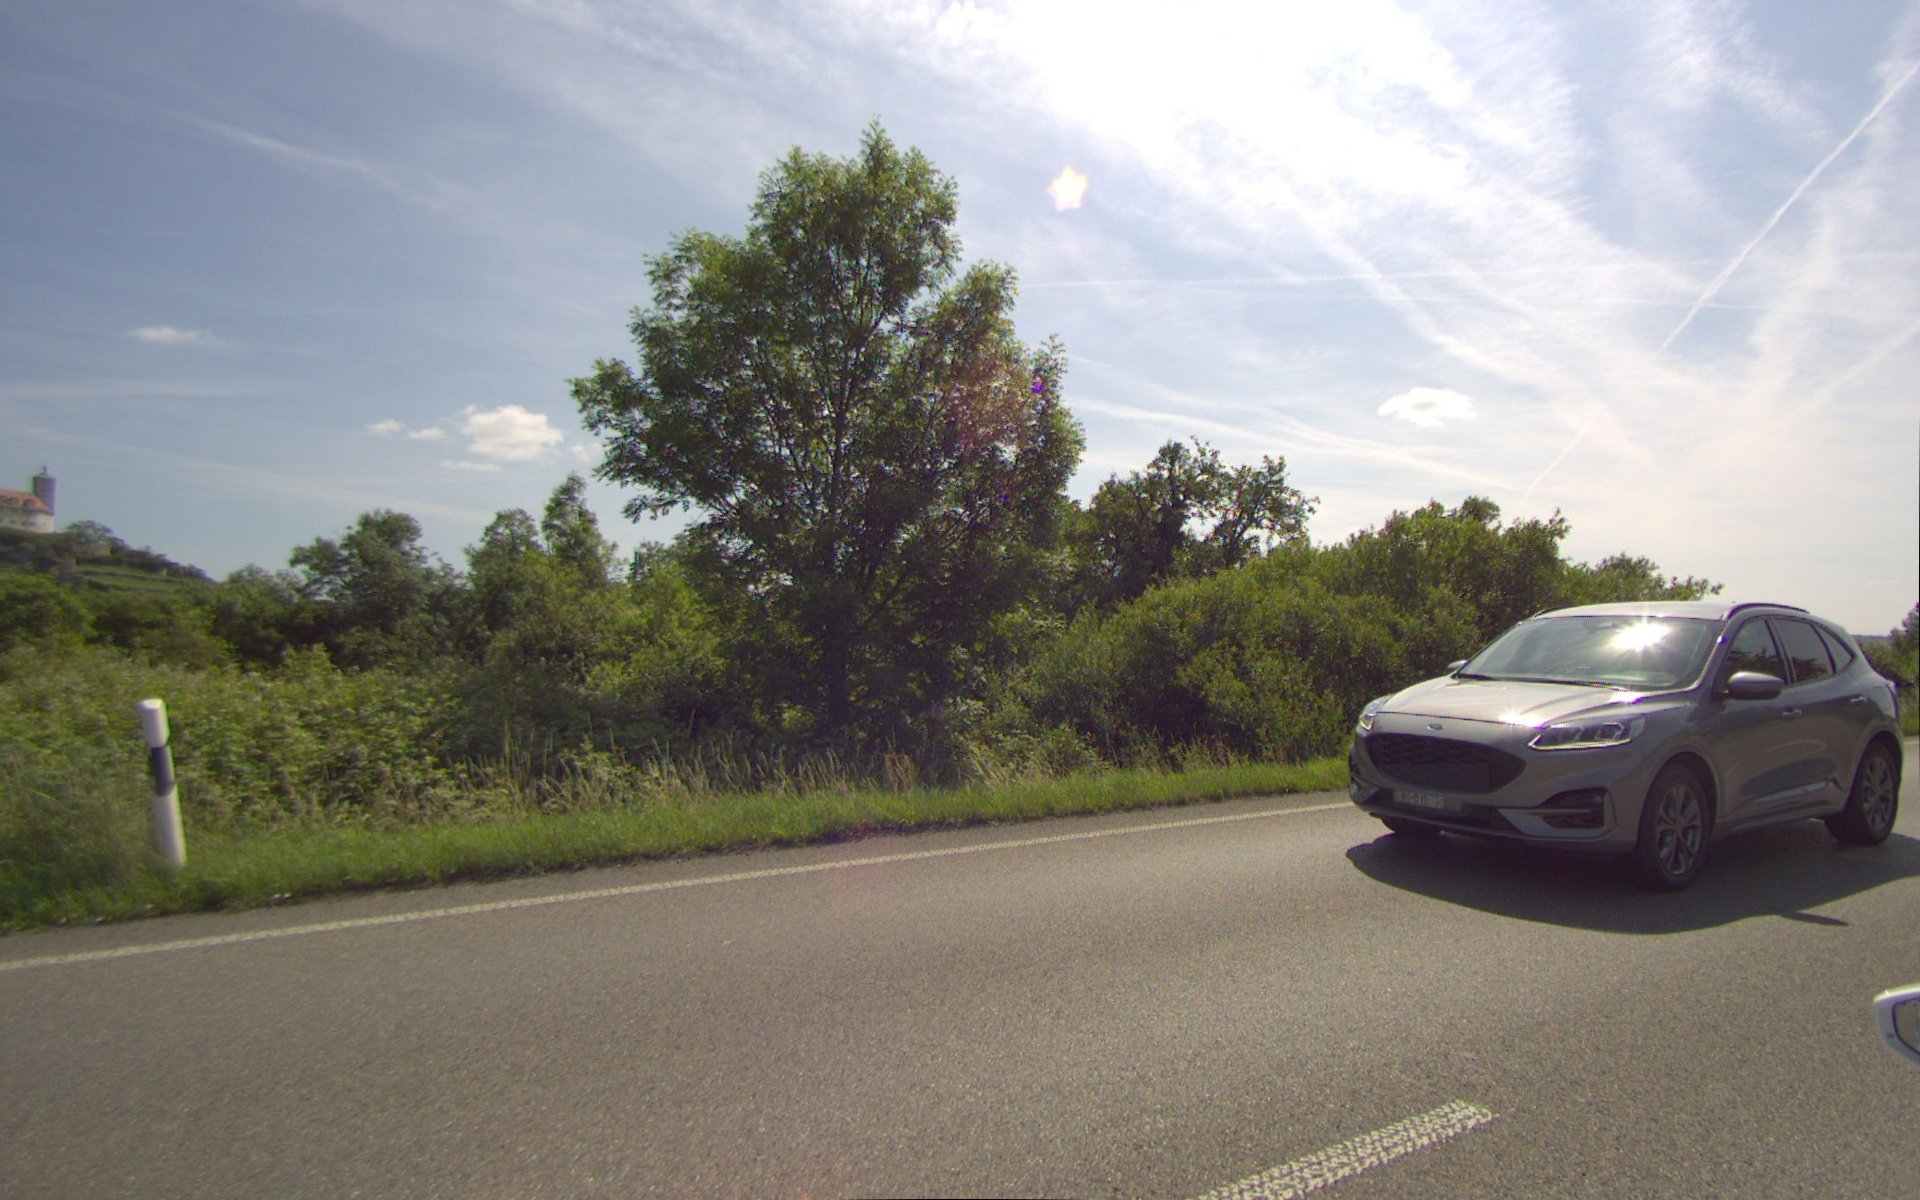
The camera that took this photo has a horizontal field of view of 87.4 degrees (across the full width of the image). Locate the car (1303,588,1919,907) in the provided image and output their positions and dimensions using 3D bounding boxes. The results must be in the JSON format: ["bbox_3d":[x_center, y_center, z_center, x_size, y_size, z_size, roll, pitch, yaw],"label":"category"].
[{"bbox_3d":[4.693,0.819,7.060,4.349,1.626,1.948,2,-1,-30],"label":"car"}]
